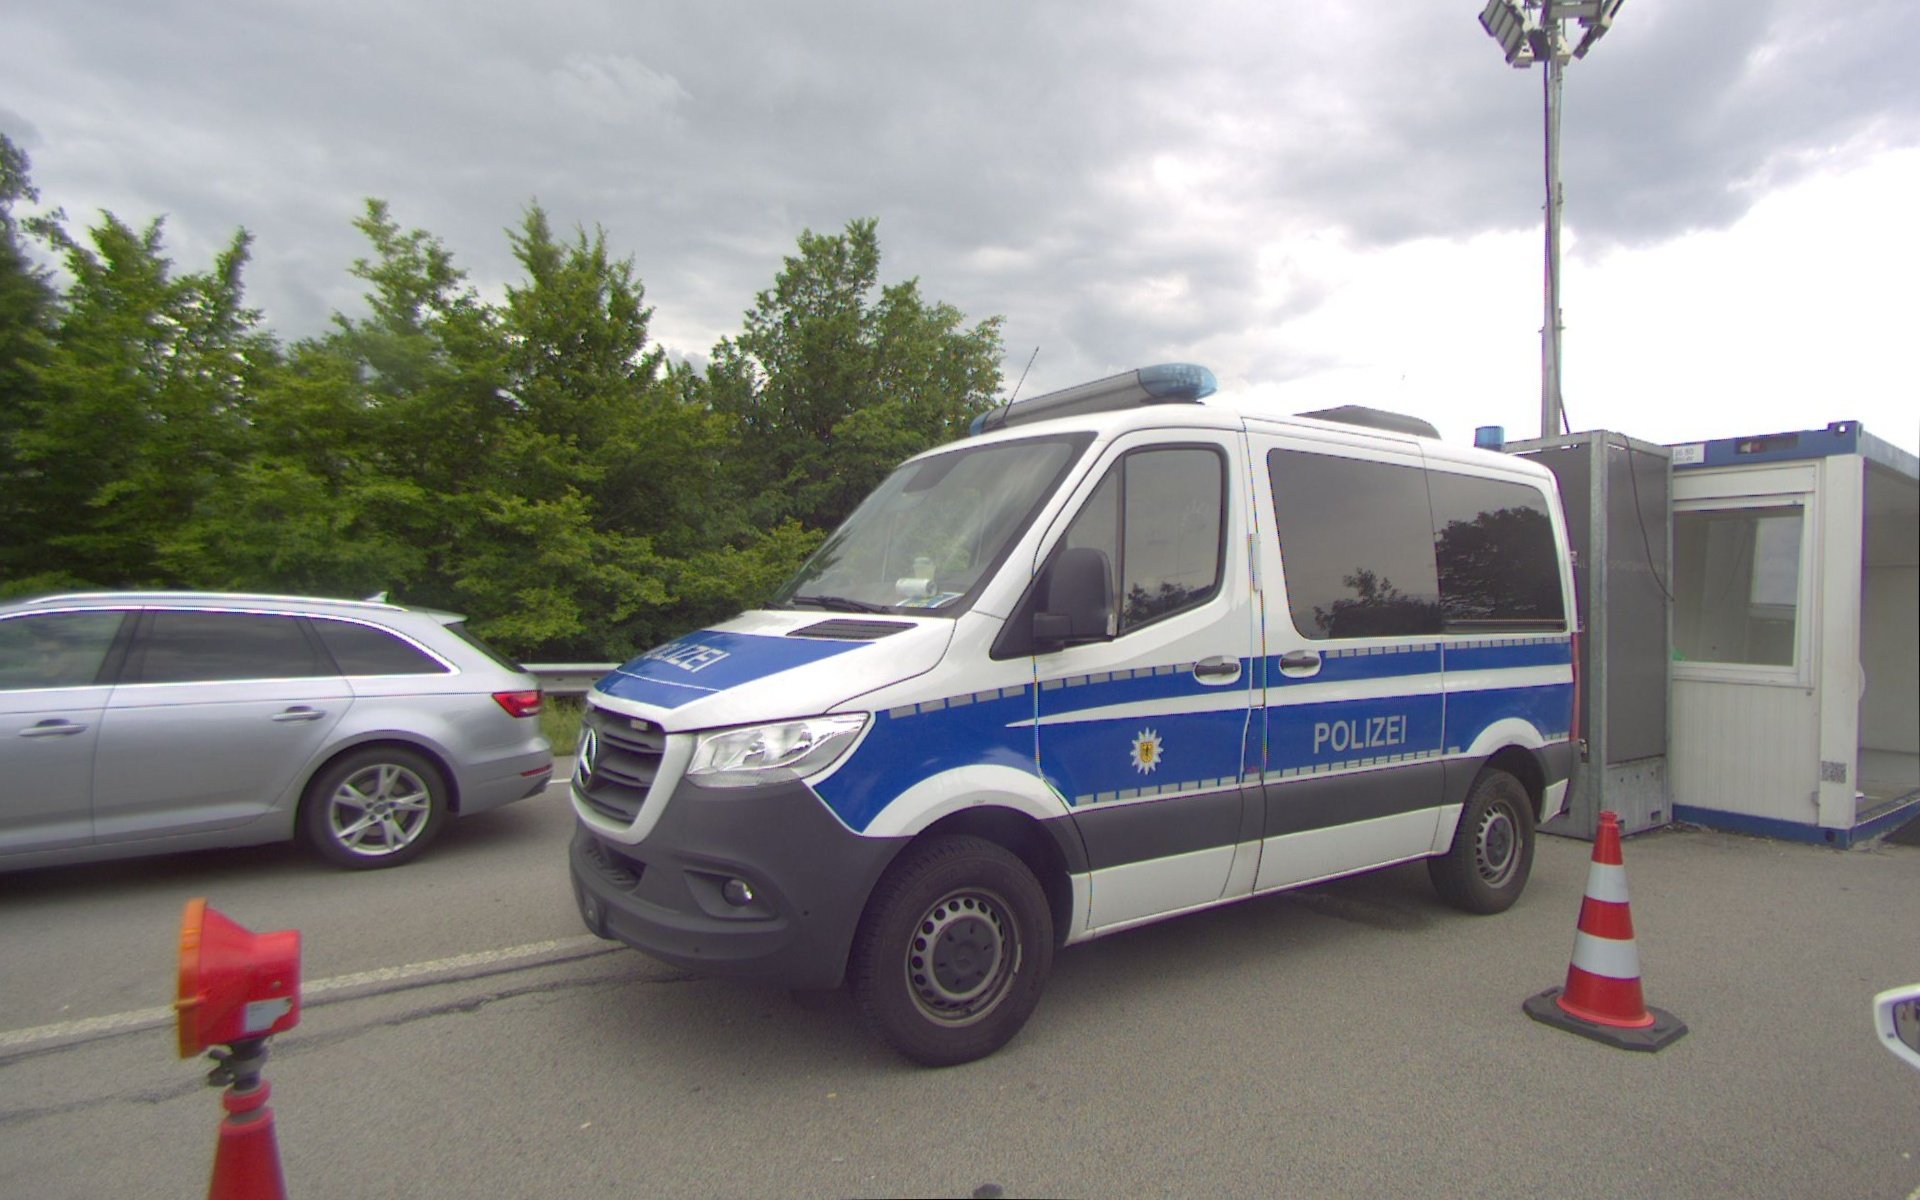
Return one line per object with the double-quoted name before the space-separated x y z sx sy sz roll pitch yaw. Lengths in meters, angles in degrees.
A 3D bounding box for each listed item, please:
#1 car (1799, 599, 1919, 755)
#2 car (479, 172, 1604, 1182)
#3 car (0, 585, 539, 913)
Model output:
"car" 12.482 0.920 12.707 3.967 1.767 1.857 1 0 -34
"car" 0.736 0.241 4.794 5.224 2.496 2.016 1 0 -34
"car" -4.624 0.642 5.062 4.335 1.420 1.666 2 0 -38
